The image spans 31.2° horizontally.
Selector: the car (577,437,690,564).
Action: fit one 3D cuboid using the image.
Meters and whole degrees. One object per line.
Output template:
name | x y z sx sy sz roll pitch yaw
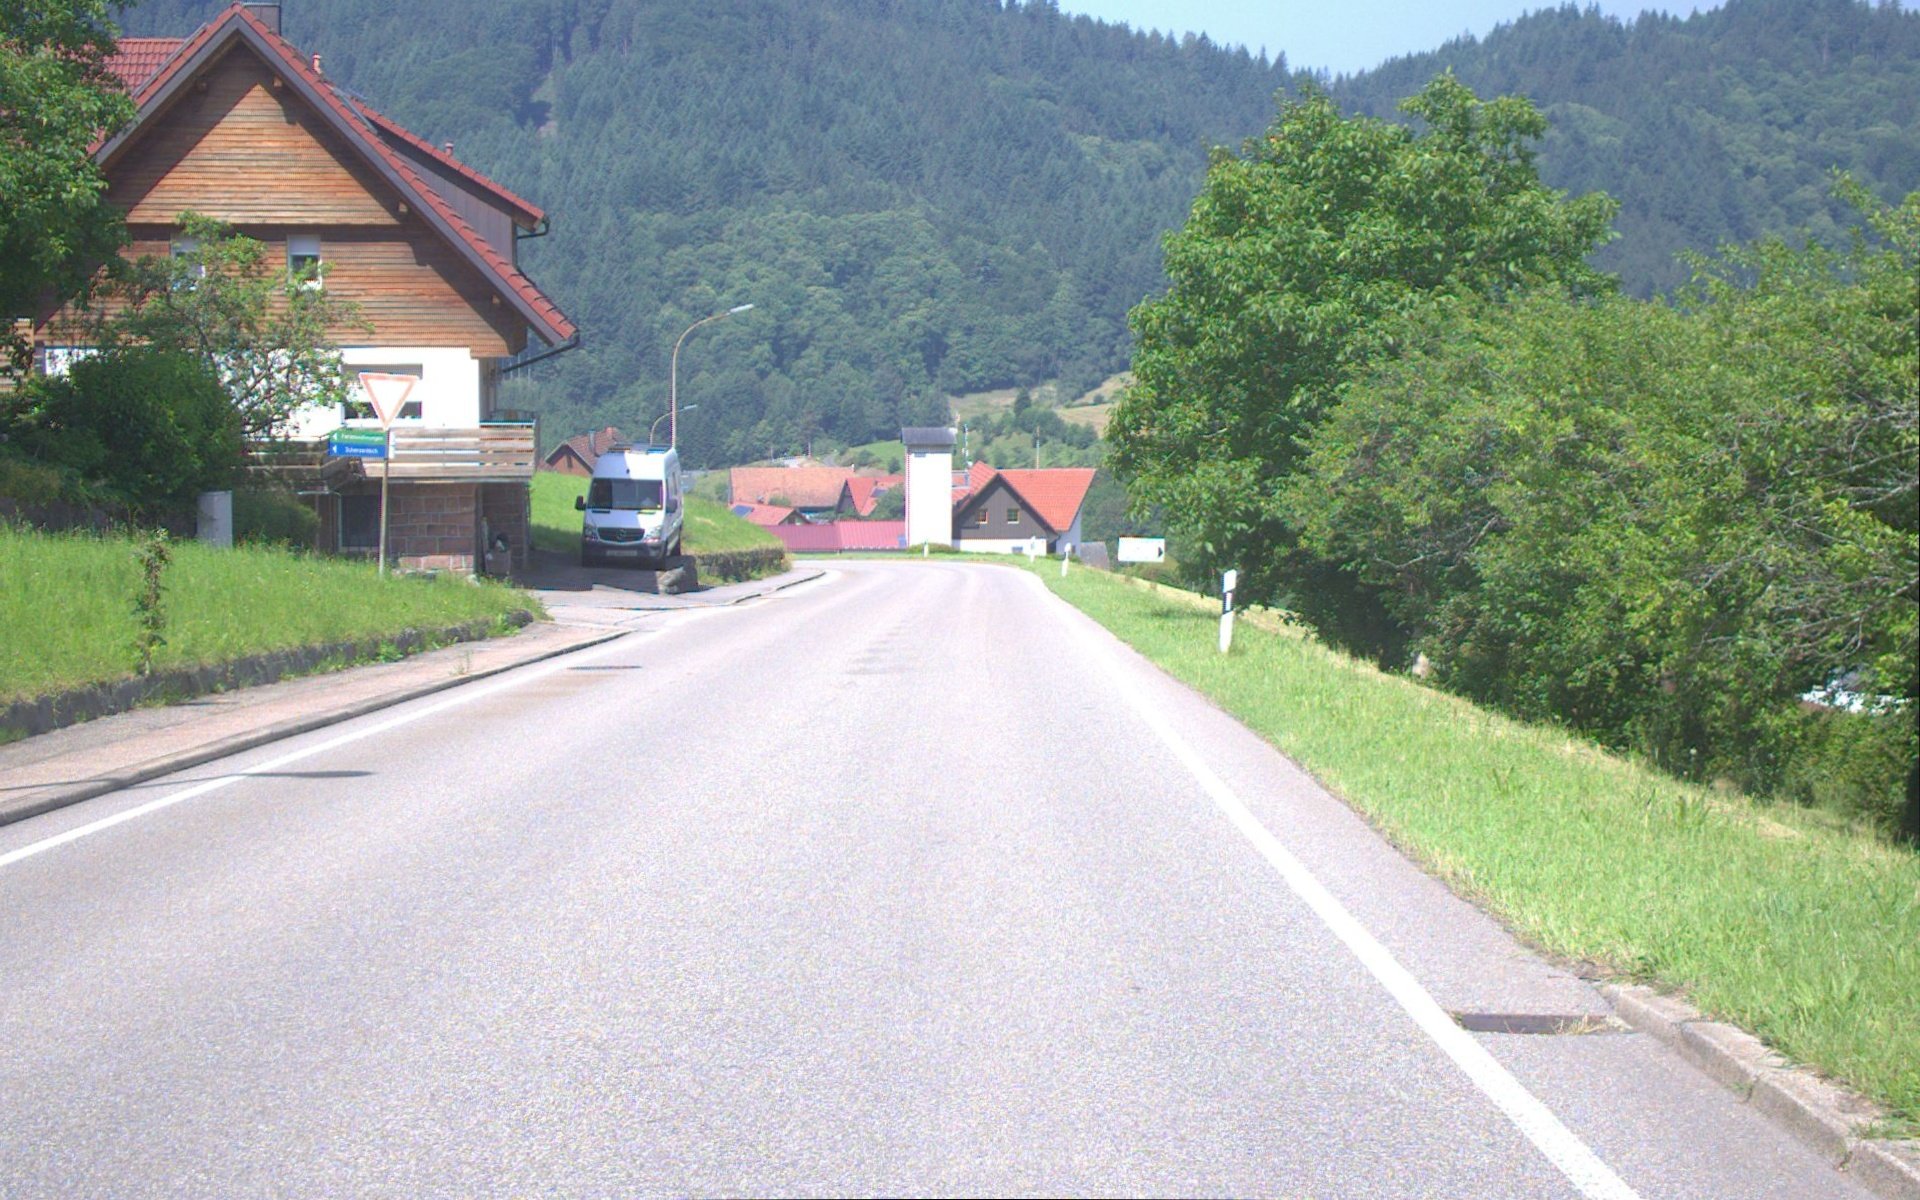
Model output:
car | -7.740 -2.441 82.218 2.067 2.679 7.176 0 4 0
